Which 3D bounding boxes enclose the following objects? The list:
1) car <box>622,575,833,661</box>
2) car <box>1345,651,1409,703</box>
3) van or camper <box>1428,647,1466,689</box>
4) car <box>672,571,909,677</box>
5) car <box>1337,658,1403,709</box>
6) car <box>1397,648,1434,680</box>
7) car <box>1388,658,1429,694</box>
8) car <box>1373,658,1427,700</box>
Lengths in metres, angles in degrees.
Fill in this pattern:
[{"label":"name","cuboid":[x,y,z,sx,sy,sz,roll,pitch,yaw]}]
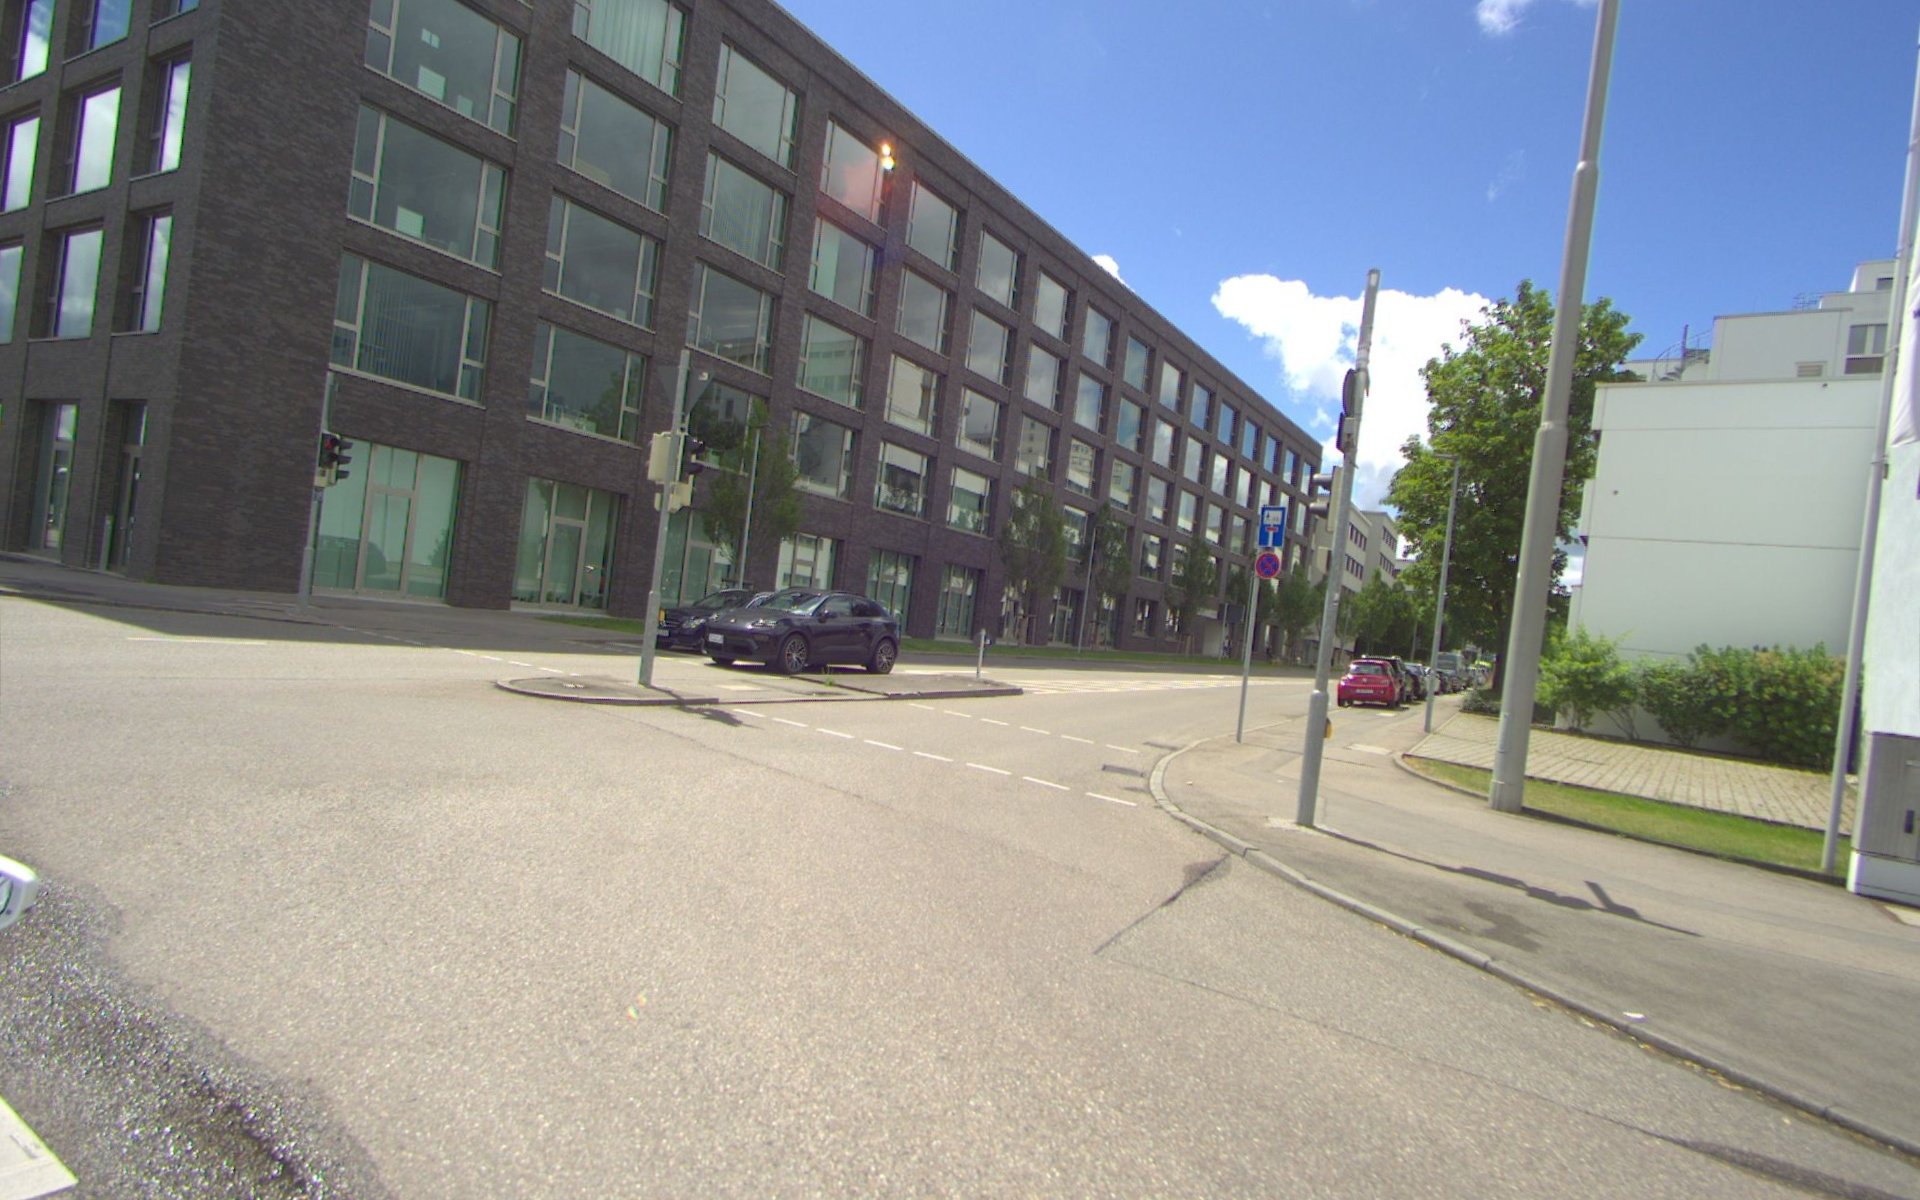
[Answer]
[{"label":"car","cuboid":[-5.109,0.469,22.755,1.967,1.510,4.530,6,-1,31]},{"label":"car","cuboid":[15.631,2.854,37.589,1.838,1.589,4.309,7,-1,26]},{"label":"van or camper","cuboid":[36.127,5.051,74.554,1.966,2.771,5.115,7,0,30]},{"label":"car","cuboid":[-3.170,0.555,19.868,1.966,1.638,4.646,7,-1,31]},{"label":"car","cuboid":[13.339,2.689,32.608,1.716,1.478,3.677,1,-3,26]},{"label":"car","cuboid":[23.855,3.355,52.661,1.471,1.355,3.536,7,-2,27]},{"label":"car","cuboid":[21.463,3.665,48.095,1.471,1.478,3.536,7,-2,27]},{"label":"car","cuboid":[18.688,3.314,42.609,1.838,1.479,4.309,5,-1,26]}]
